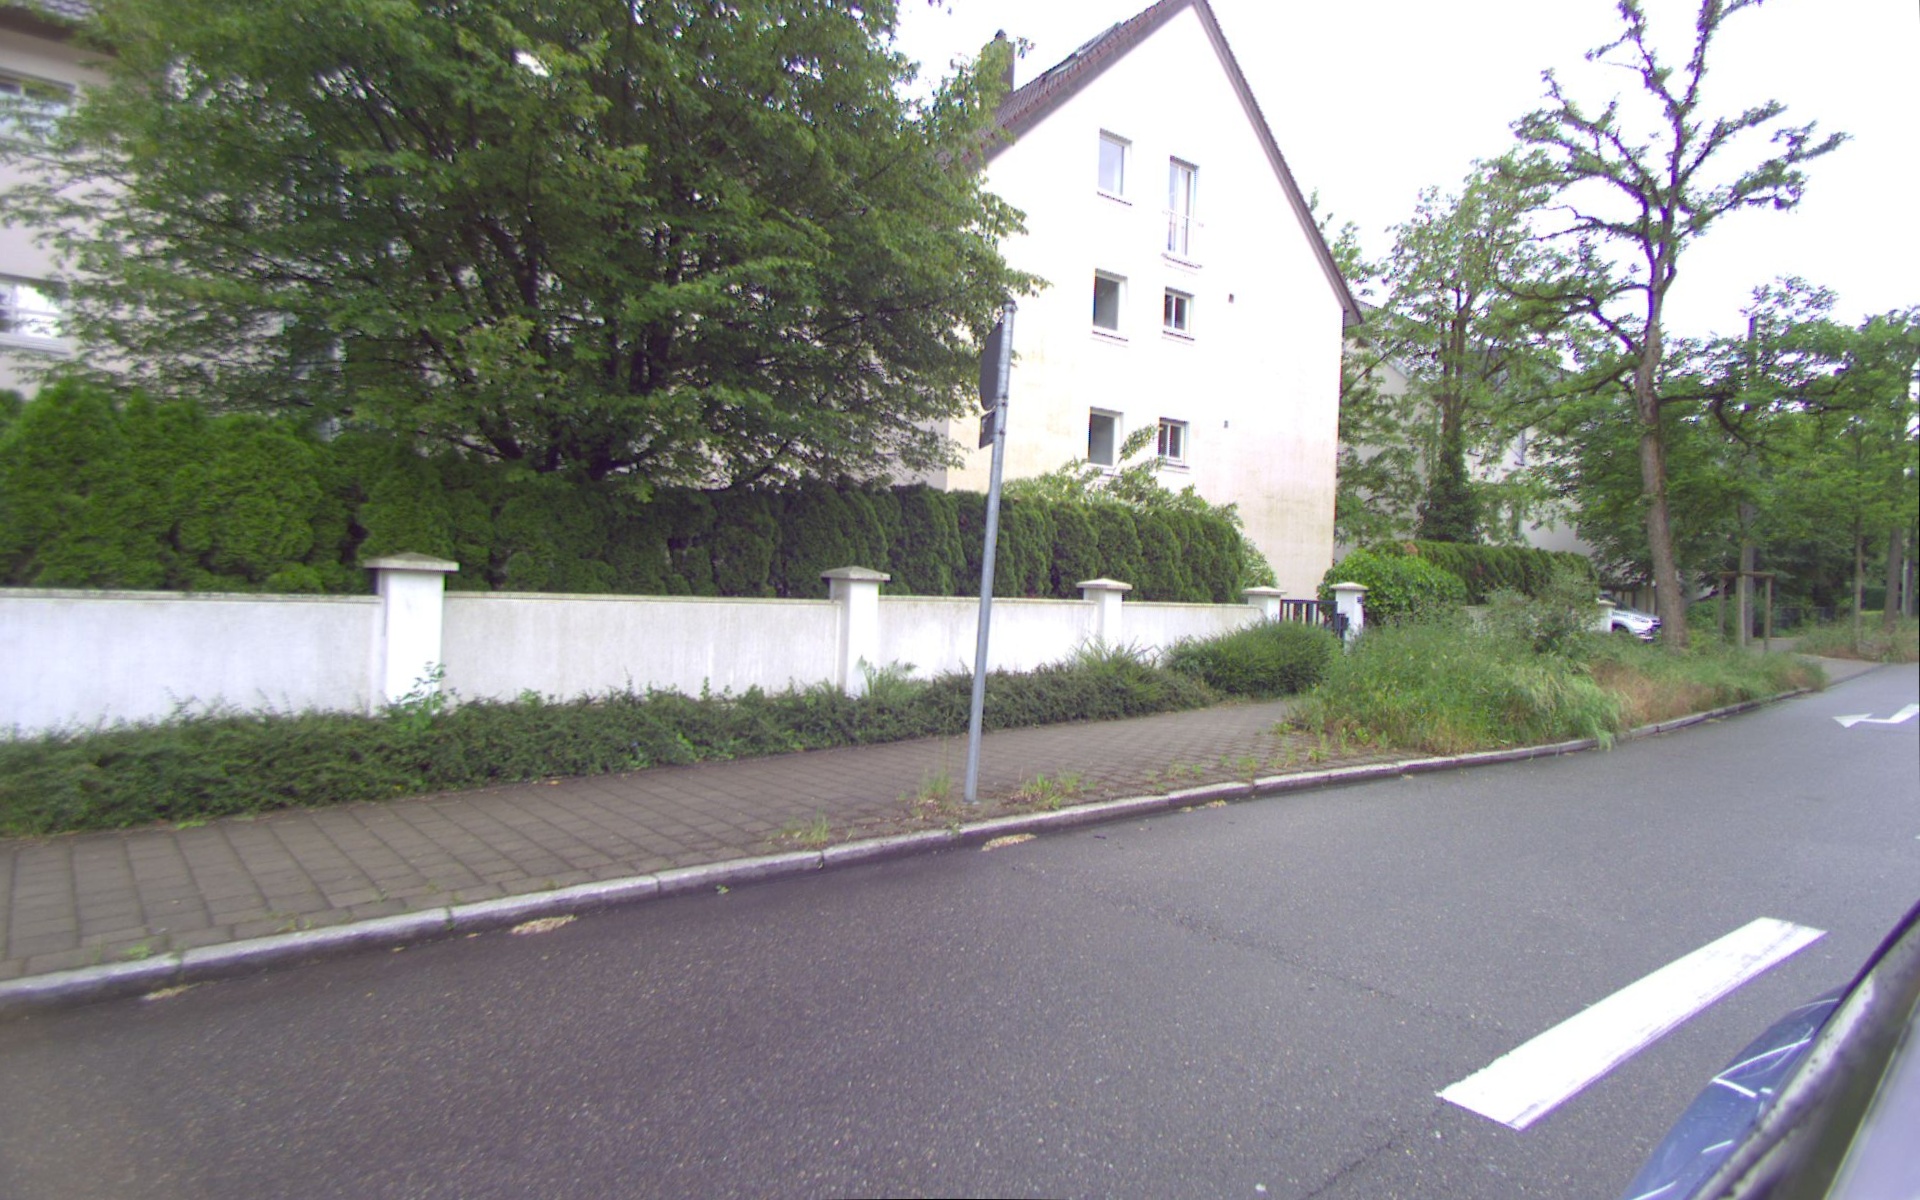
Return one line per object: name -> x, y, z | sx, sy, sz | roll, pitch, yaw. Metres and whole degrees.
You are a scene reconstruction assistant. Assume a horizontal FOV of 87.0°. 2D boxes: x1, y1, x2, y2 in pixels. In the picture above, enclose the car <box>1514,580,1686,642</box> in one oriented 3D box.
car -> 20.550, 0.297, 32.673 | 1.837, 1.840, 4.322 | 1, 1, -31
